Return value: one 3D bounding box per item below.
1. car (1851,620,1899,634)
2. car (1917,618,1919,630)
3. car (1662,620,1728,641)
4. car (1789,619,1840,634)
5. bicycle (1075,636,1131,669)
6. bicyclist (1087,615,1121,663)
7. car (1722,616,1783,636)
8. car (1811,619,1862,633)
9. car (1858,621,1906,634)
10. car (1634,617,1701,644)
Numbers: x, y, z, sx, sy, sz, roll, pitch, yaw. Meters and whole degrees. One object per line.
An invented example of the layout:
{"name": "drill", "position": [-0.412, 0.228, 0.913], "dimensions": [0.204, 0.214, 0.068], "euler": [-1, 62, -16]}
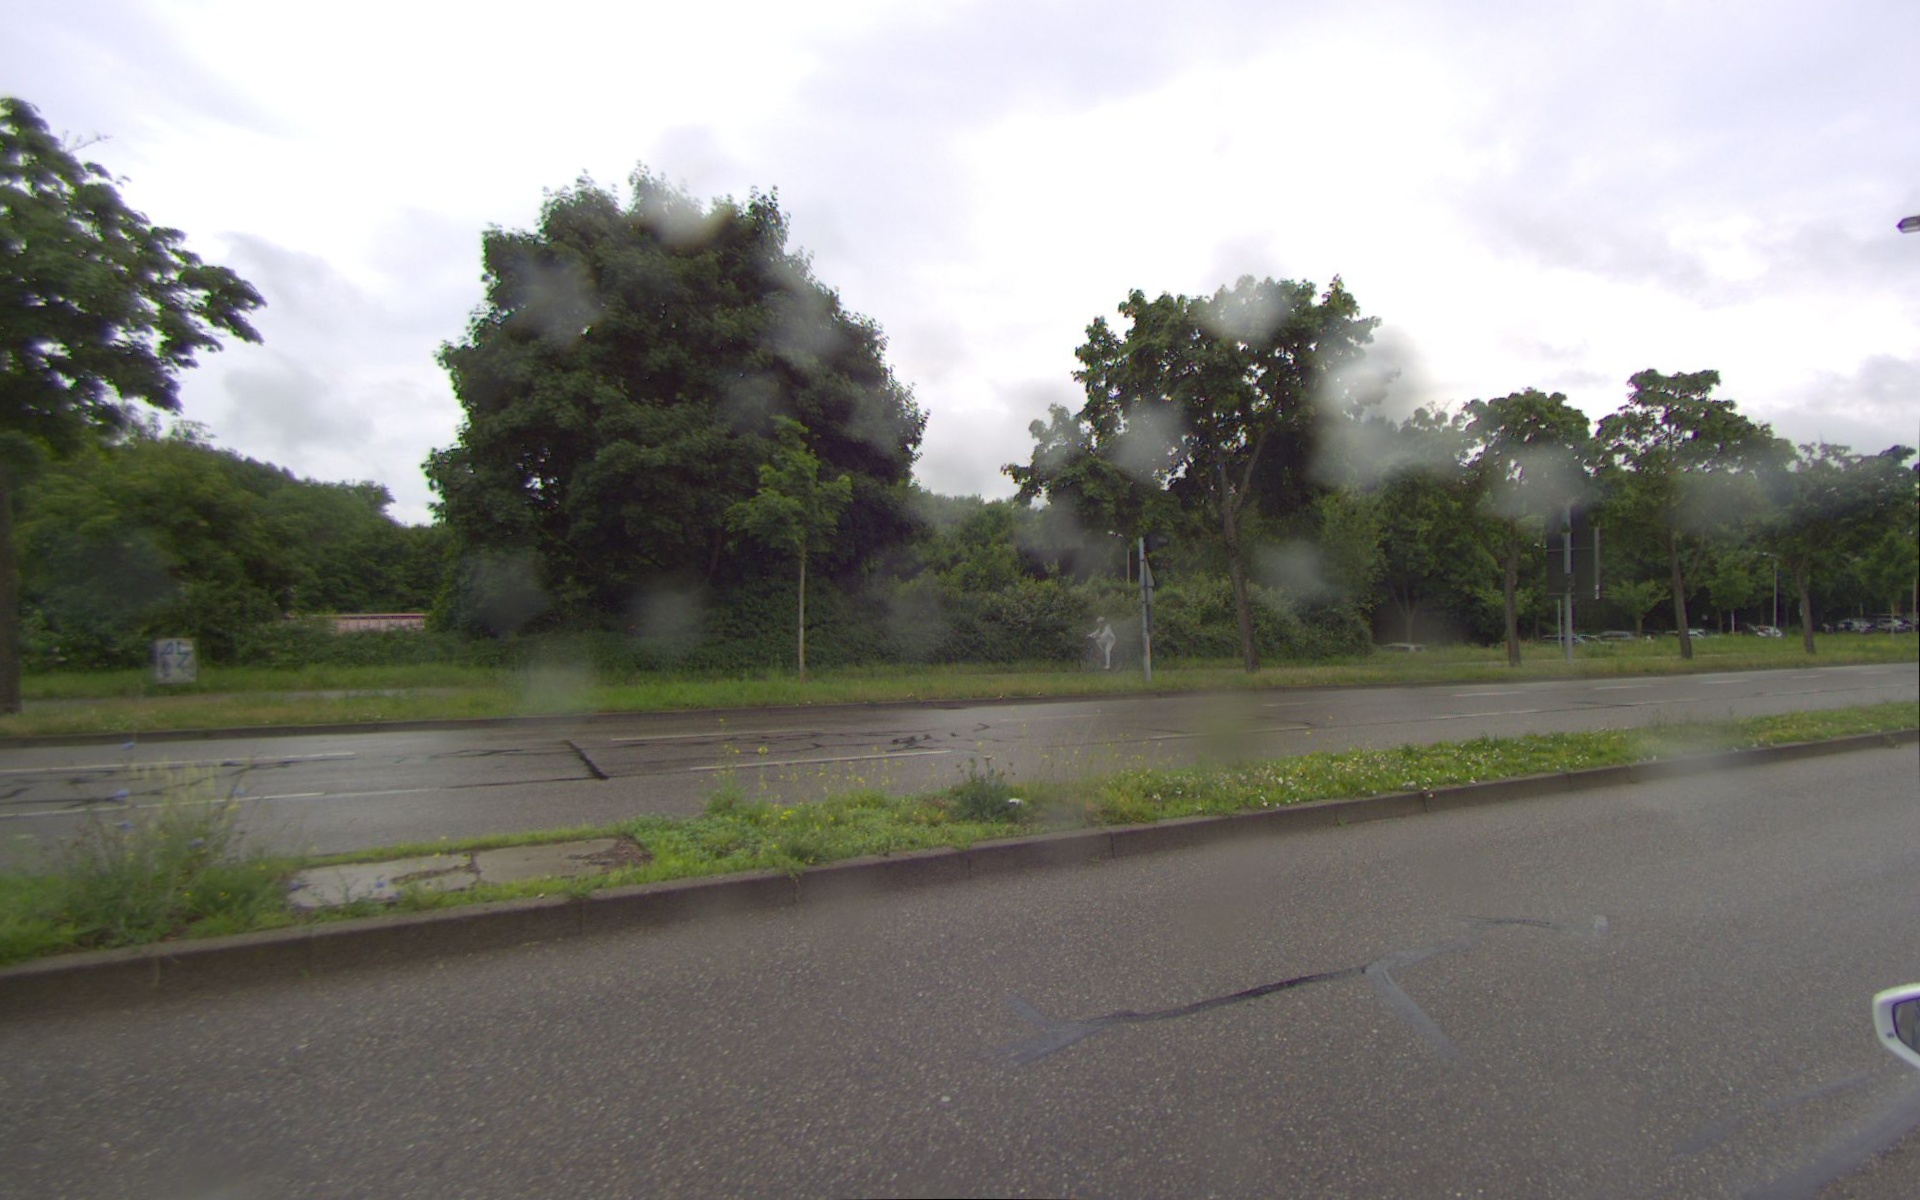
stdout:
{"name": "car", "position": [102.795, 3.030, 112.840], "dimensions": [1.511, 1.471, 3.807], "euler": [0, -1, -37]}
{"name": "car", "position": [123.085, 2.986, 126.382], "dimensions": [3.793, 1.471, 1.516], "euler": [-1, -1, 43]}
{"name": "car", "position": [60.152, 2.460, 82.246], "dimensions": [1.982, 1.639, 3.958], "euler": [0, -1, -37]}
{"name": "car", "position": [86.100, 2.623, 101.239], "dimensions": [1.474, 1.445, 3.707], "euler": [0, -1, -37]}
{"name": "bicycle", "position": [4.083, 1.488, 28.624], "dimensions": [1.614, 0.897, 0.519], "euler": [1, 0, -30]}
{"name": "bicyclist", "position": [4.093, 1.106, 28.624], "dimensions": [0.798, 1.320, 0.519], "euler": [1, 0, -30]}
{"name": "car", "position": [70.235, 2.293, 89.072], "dimensions": [1.894, 1.662, 3.958], "euler": [0, -1, -37]}
{"name": "car", "position": [92.217, 2.726, 105.702], "dimensions": [1.511, 1.471, 3.807], "euler": [0, -1, -37]}
{"name": "car", "position": [104.904, 3.104, 114.329], "dimensions": [1.511, 1.471, 3.807], "euler": [0, -1, -37]}
{"name": "car", "position": [56.032, 2.366, 79.598], "dimensions": [1.982, 2.040, 3.958], "euler": [0, -1, -37]}
